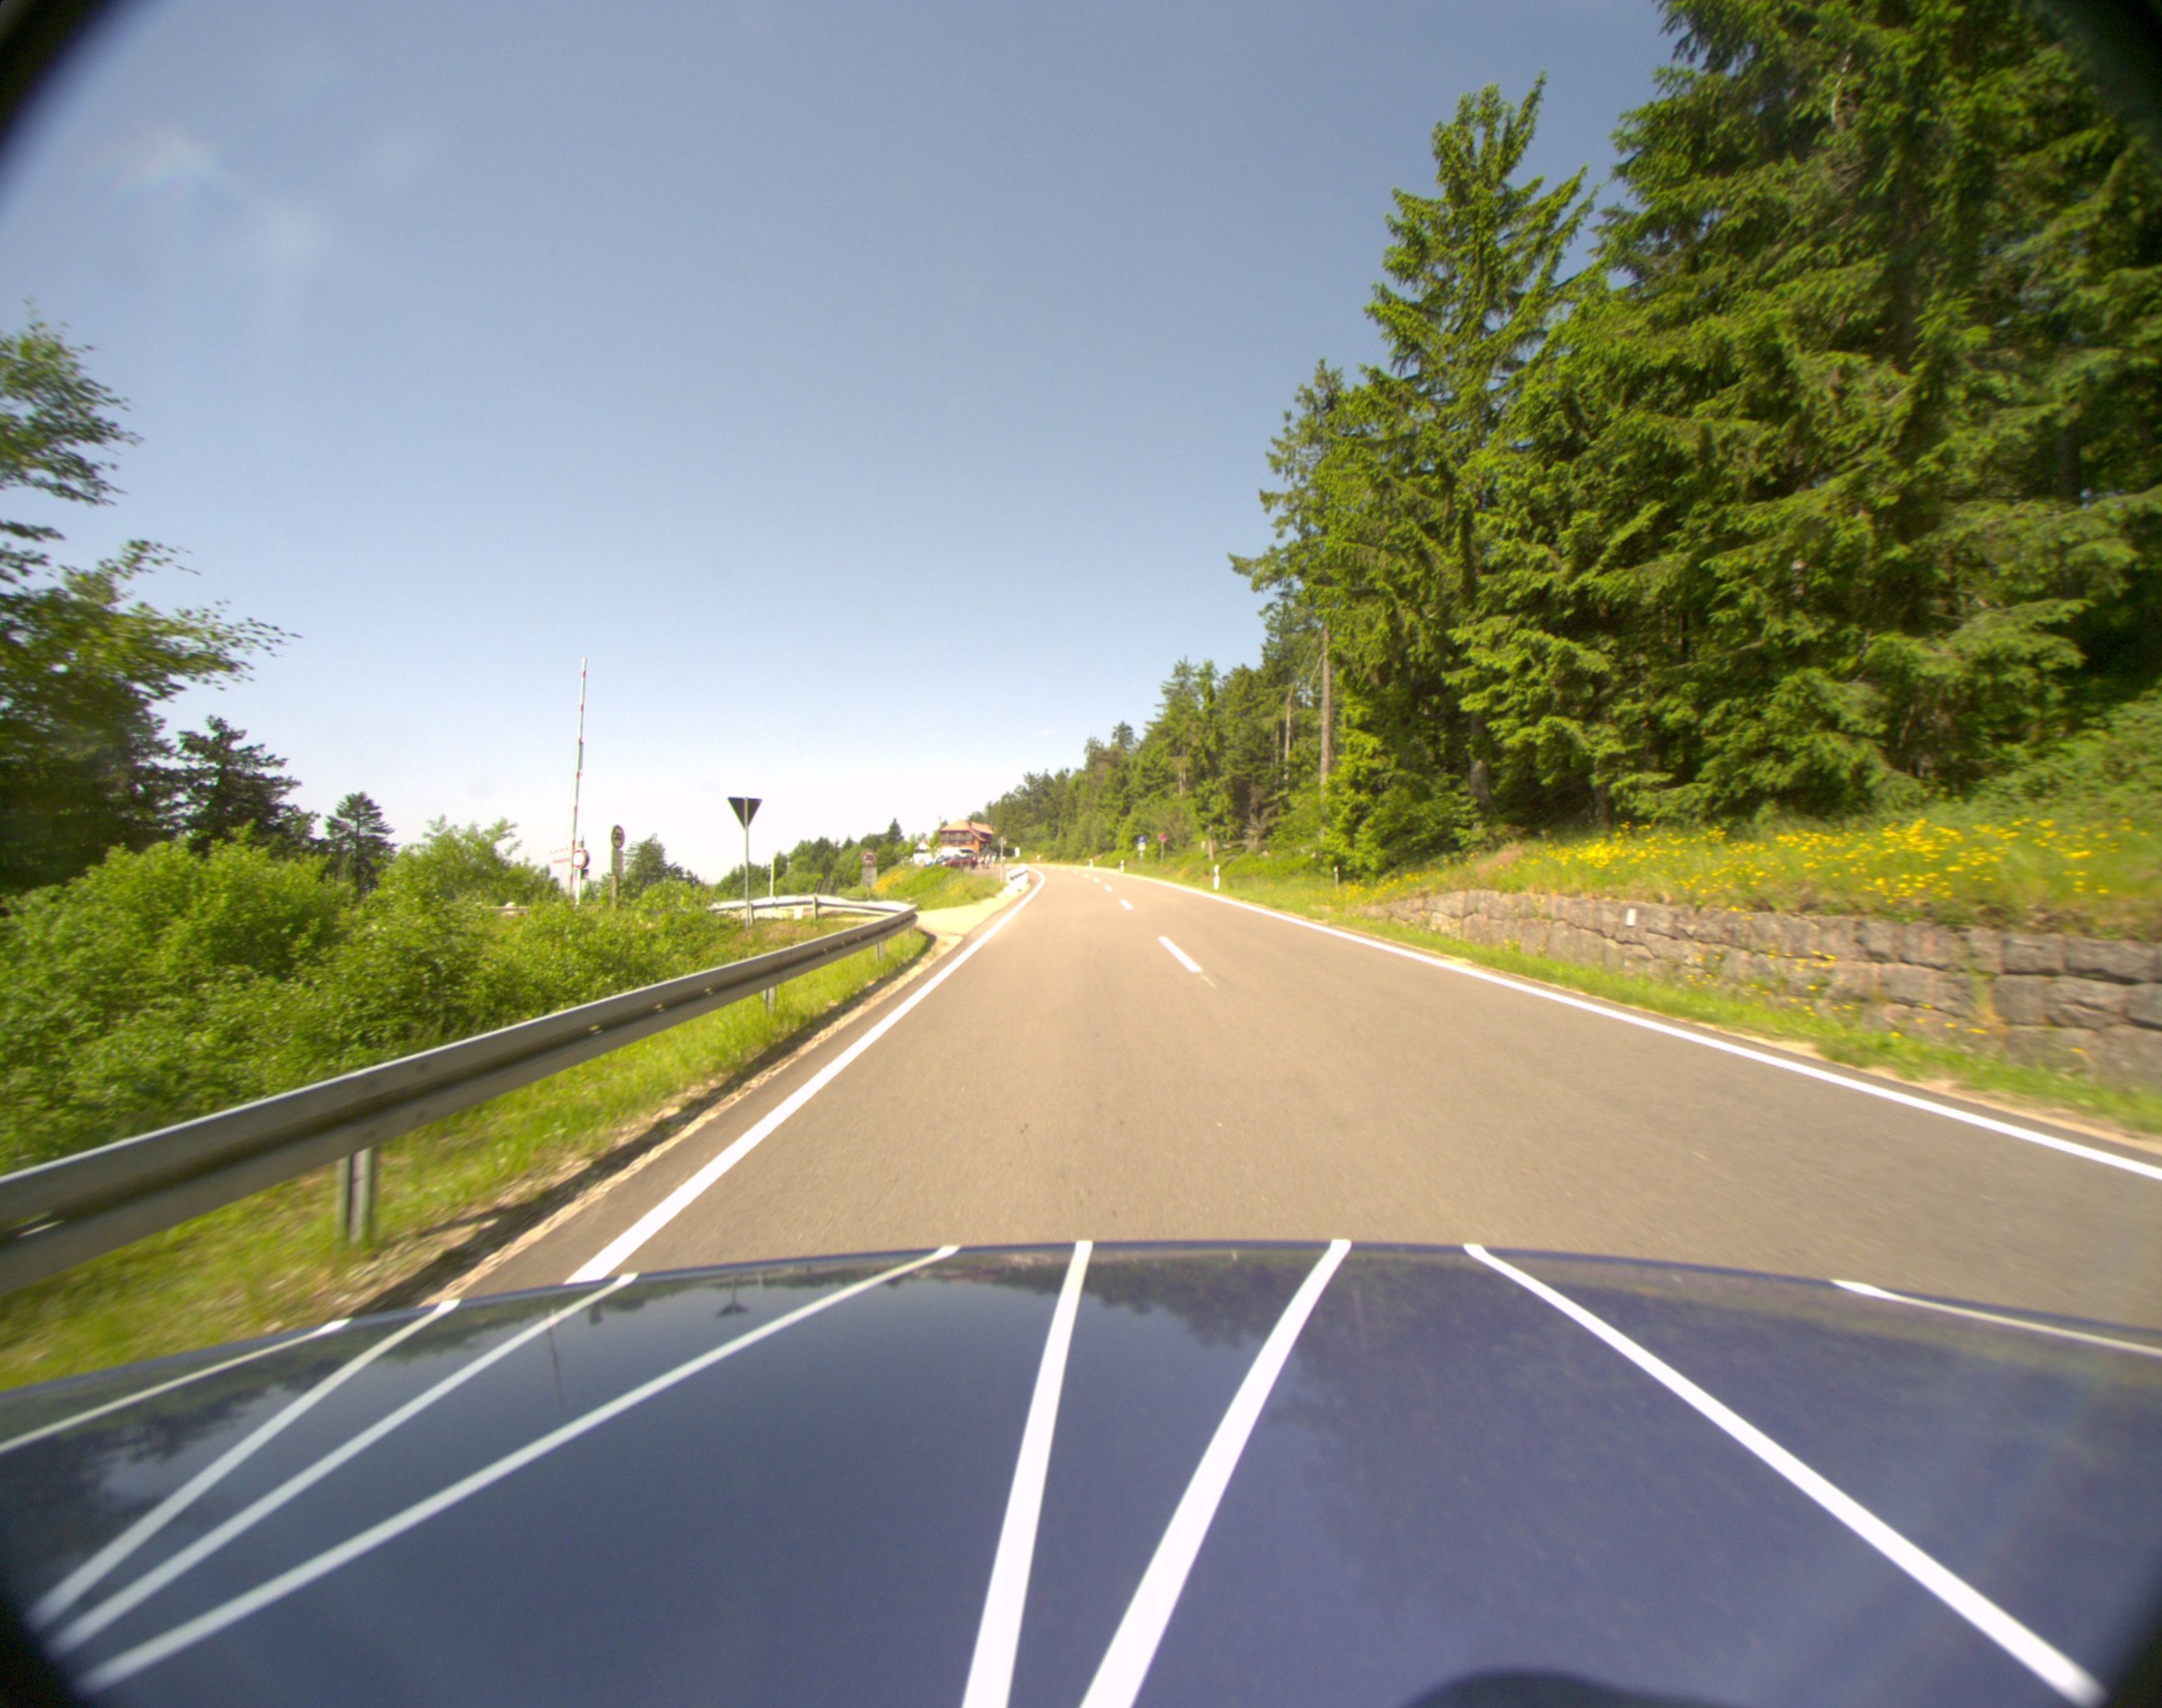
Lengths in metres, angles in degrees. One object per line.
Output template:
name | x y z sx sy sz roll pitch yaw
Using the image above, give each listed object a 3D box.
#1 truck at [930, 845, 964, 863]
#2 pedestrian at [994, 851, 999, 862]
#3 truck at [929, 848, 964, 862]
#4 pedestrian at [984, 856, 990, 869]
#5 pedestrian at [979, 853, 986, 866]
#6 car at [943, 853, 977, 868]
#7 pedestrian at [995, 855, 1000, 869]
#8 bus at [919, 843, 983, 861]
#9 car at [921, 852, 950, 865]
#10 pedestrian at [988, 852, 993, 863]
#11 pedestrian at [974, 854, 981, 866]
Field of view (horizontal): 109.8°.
truck | -24.984 -0.020 141.245 6.086 3.177 2.529 0 0 -14
pedestrian | -13.617 0.404 122.414 0.755 1.750 0.775 0 0 1
truck | -24.416 0.192 137.972 6.283 2.575 2.338 0 0 -13
pedestrian | -11.726 1.038 94.431 0.718 1.682 0.618 -1 1 -6
pedestrian | -12.060 0.676 92.921 0.654 1.650 0.688 0 -1 1
car | -14.645 0.792 92.222 3.831 1.651 1.650 -2 1 -17
pedestrian | -10.329 1.021 94.300 0.619 1.765 0.723 -1 1 -5
bus | -26.821 -0.351 156.339 12.892 3.556 2.836 0 0 -12
car | -21.005 0.681 109.609 4.002 1.637 1.598 -3 1 -16
pedestrian | -14.527 0.549 122.481 0.666 1.730 0.894 0 0 1
pedestrian | -12.786 0.744 93.981 0.618 1.577 0.736 0 -1 7
